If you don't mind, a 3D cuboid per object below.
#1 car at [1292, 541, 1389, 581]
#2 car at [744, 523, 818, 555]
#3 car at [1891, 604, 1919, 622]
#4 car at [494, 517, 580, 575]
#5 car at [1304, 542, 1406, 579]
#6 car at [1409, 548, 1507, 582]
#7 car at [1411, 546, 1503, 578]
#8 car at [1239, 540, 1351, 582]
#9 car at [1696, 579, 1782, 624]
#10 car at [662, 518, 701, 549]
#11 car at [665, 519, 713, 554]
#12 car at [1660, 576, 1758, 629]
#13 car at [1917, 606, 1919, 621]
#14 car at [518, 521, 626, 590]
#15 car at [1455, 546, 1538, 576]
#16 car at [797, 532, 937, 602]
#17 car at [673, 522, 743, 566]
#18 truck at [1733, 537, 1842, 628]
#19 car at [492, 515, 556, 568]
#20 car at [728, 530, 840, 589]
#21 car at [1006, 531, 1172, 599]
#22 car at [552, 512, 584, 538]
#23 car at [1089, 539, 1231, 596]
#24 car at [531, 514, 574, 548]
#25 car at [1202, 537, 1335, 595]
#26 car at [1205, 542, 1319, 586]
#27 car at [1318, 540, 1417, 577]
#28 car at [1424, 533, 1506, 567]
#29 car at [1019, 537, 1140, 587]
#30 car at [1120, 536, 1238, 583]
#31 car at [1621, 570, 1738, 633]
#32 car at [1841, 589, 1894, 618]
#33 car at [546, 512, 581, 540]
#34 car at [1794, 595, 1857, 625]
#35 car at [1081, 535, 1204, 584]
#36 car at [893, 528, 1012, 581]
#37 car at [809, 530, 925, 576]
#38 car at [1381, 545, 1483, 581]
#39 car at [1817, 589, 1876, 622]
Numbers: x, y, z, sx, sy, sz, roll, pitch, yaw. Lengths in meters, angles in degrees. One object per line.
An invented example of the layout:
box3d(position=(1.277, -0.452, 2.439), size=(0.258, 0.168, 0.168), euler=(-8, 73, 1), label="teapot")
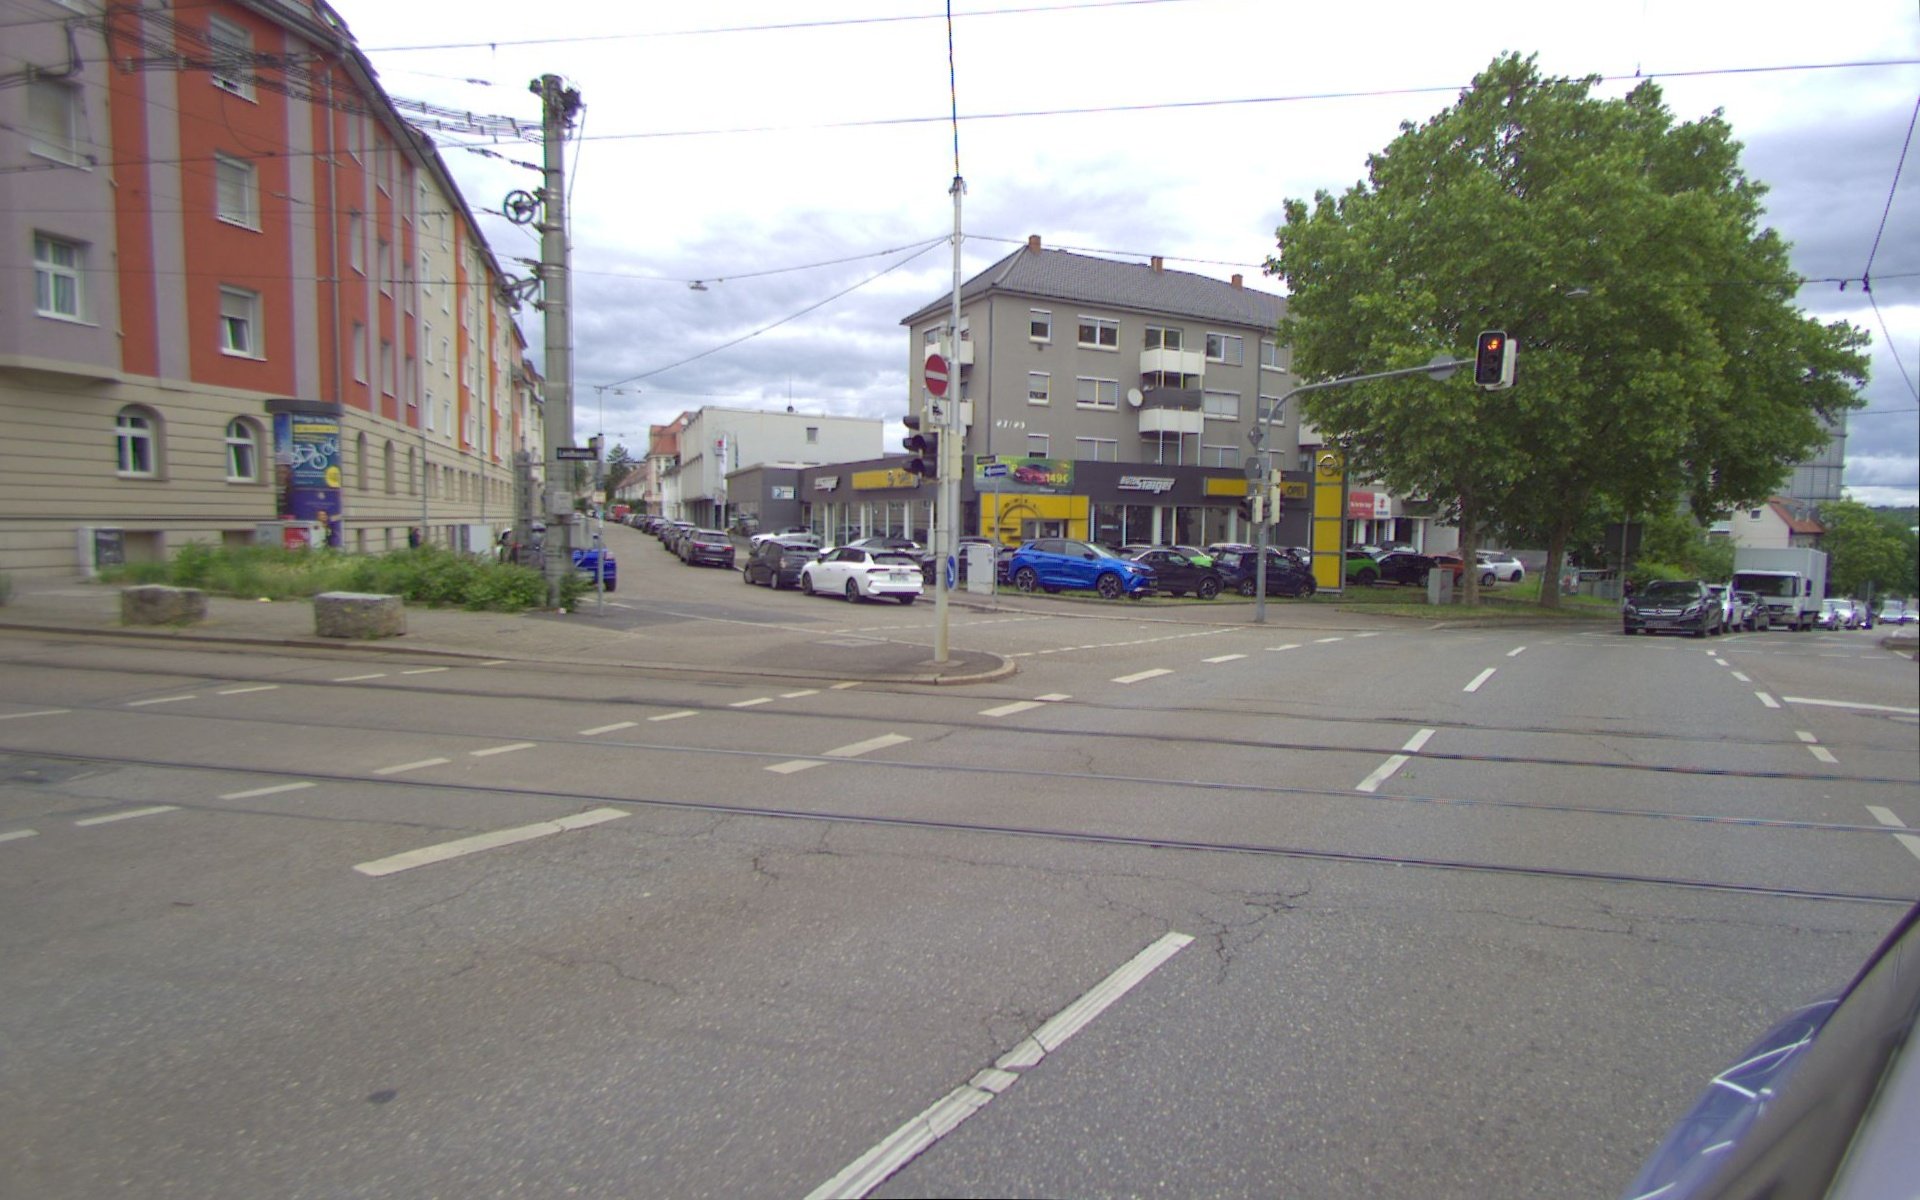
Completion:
box3d(position=(16.367, -1.710, 43.627), size=(3.550, 1.571, 1.619), euler=(2, 3, 7), label="car")
box3d(position=(-9.946, -3.382, 56.205), size=(3.812, 1.553, 1.724), euler=(2, 4, -17), label="car")
box3d(position=(90.953, 1.201, 97.221), size=(3.933, 1.620, 1.996), euler=(0, 2, -43), label="car")
box3d(position=(-13.162, -1.712, 31.334), size=(1.880, 1.553, 4.148), euler=(1, 5, -31), label="car")
box3d(position=(17.822, -1.814, 45.806), size=(3.935, 1.522, 1.751), euler=(3, 3, 10), label="car")
box3d(position=(25.023, -1.792, 50.962), size=(3.925, 1.522, 1.864), euler=(2, 3, 1), label="car")
box3d(position=(26.216, -2.038, 53.510), size=(3.935, 1.522, 1.859), euler=(3, 3, 10), label="car")
box3d(position=(13.897, -1.652, 42.136), size=(3.986, 1.568, 1.835), euler=(5, 5, 42), label="car")
box3d(position=(28.179, -0.007, 36.568), size=(1.994, 1.483, 4.340), euler=(2, 3, 44), label="car")
box3d(position=(-15.694, -3.770, 56.967), size=(1.878, 1.553, 4.154), euler=(1, 4, -18), label="car")
box3d(position=(-13.695, -3.230, 51.053), size=(1.878, 1.553, 4.153), euler=(1, 4, -21), label="car")
box3d(position=(23.847, 0.021, 32.167), size=(1.994, 1.545, 4.190), euler=(2, 3, 44), label="car")
box3d(position=(108.860, 1.552, 113.444), size=(3.933, 1.620, 1.996), euler=(0, 2, -43), label="car")
box3d(position=(-10.165, -1.199, 26.335), size=(1.880, 1.553, 4.148), euler=(0, 5, -31), label="car")
box3d(position=(29.438, -2.151, 55.544), size=(3.544, 1.522, 1.796), euler=(2, 3, -7), label="car")
box3d(position=(-2.541, -0.913, 26.714), size=(1.882, 1.553, 4.145), euler=(0, 5, -34), label="car")
box3d(position=(-10.258, -2.290, 41.005), size=(1.879, 1.553, 4.151), euler=(1, 4, -26), label="car")
box3d(position=(35.610, -0.795, 43.431), size=(8.038, 3.545, 2.766), euler=(-1, 2, -45), label="truck")
box3d(position=(-15.276, -2.094, 35.623), size=(1.878, 1.652, 4.153), euler=(1, 4, -21), label="car")
box3d(position=(-5.473, -1.290, 31.069), size=(1.881, 1.553, 4.146), euler=(0, 5, -33), label="car")
box3d(position=(3.591, -1.007, 28.537), size=(4.237, 1.596, 1.806), euler=(6, 4, 36), label="car")
box3d(position=(-27.459, -5.296, 70.923), size=(1.878, 1.652, 4.154), euler=(1, 4, -19), label="car")
box3d(position=(6.236, -1.032, 31.608), size=(3.916, 1.494, 1.835), euler=(2, 3, -22), label="car")
box3d(position=(-22.183, -3.793, 55.210), size=(1.878, 1.652, 4.154), euler=(1, 4, -19), label="car")
box3d(position=(10.849, -1.193, 35.614), size=(4.082, 1.625, 1.837), euler=(2, 8, -23), label="car")
box3d(position=(12.199, -1.501, 41.042), size=(3.987, 1.568, 1.835), euler=(5, 5, 42), label="car")
box3d(position=(19.050, -1.971, 47.476), size=(3.935, 1.522, 1.859), euler=(3, 3, 10), label="car")
box3d(position=(30.328, -3.019, 60.838), size=(3.935, 1.844, 1.859), euler=(3, 3, 10), label="car")
box3d(position=(4.187, -1.388, 35.919), size=(1.832, 1.568, 3.993), euler=(-1, 5, -43), label="car")
box3d(position=(8.216, -1.561, 38.185), size=(1.832, 1.568, 3.993), euler=(-1, 5, -43), label="car")
box3d(position=(19.555, -0.017, 27.450), size=(1.994, 1.545, 4.190), euler=(2, 3, 44), label="car")
box3d(position=(54.837, 0.179, 61.137), size=(4.335, 1.649, 1.996), euler=(-1, 2, -43), label="car")
box3d(position=(-25.689, -4.843, 65.632), size=(1.878, 1.652, 4.154), euler=(1, 4, -19), label="car")
box3d(position=(42.226, 0.451, 49.344), size=(4.336, 1.315, 1.915), euler=(-1, 3, -44), label="car")
box3d(position=(6.586, -1.496, 36.778), size=(3.985, 1.568, 1.836), euler=(5, 5, 41), label="car")
box3d(position=(-0.253, -1.703, 38.056), size=(4.166, 1.801, 1.714), euler=(0, 5, -36), label="car")
box3d(position=(-3.584, -1.813, 39.053), size=(4.033, 1.553, 1.798), euler=(1, 4, -27), label="car")
box3d(position=(22.681, -1.808, 48.746), size=(3.922, 1.522, 1.865), euler=(2, 3, -2), label="car")
box3d(position=(48.043, 0.259, 54.821), size=(4.335, 1.649, 1.996), euler=(-1, 2, -43), label="car")
